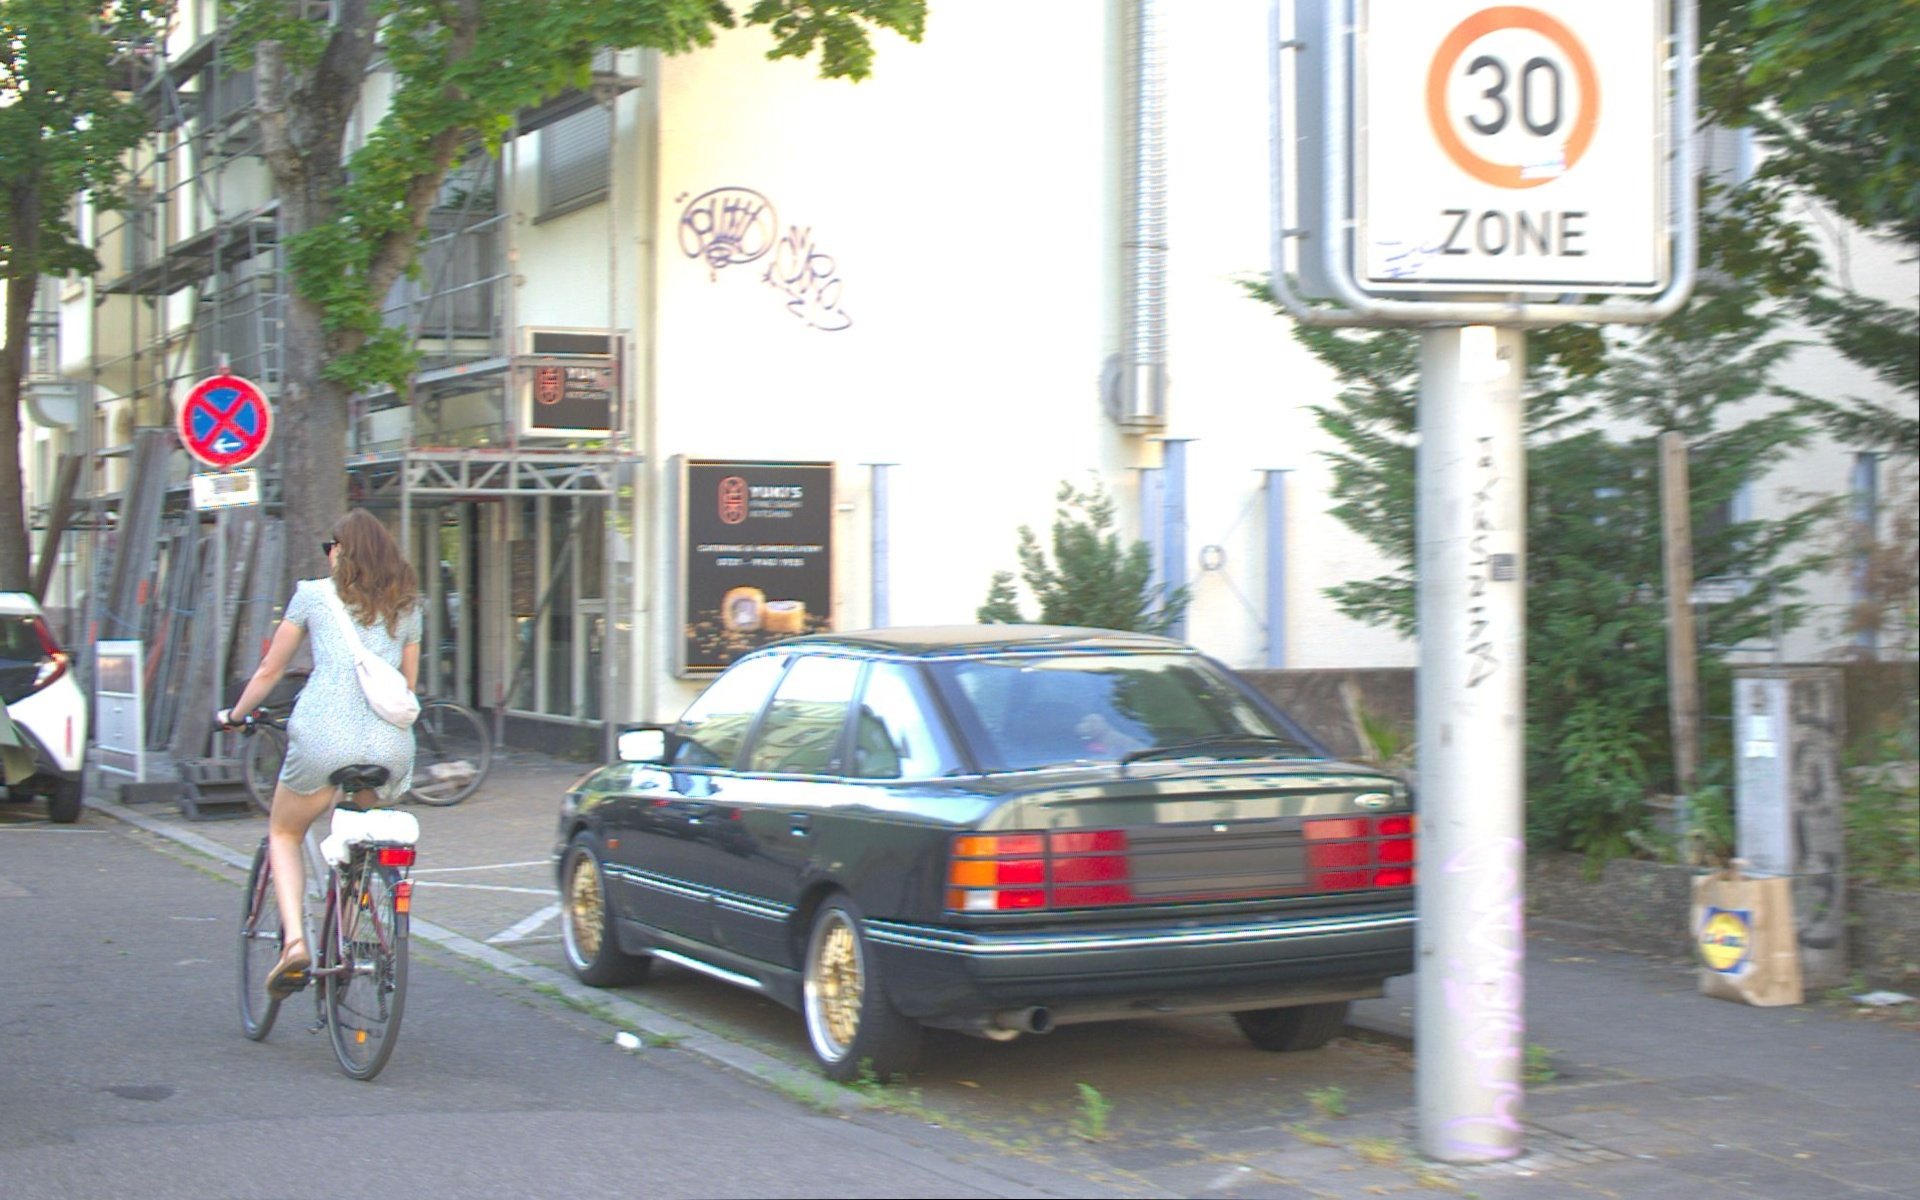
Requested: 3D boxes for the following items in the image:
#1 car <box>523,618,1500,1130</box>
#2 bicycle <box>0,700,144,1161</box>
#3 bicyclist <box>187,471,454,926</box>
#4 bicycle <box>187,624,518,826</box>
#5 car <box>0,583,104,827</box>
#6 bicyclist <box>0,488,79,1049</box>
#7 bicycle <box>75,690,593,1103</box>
[{"bbox_3d":[-0.072,0.793,12.001,1.708,1.383,4.571,1,0,-22],"label":"car"},{"bbox_3d":[-3.120,0.873,9.857,0.839,1.145,2.232,0,1,-32],"label":"bicycle"},{"bbox_3d":[-2.045,0.327,10.936,0.623,1.376,0.868,1,-4,-25],"label":"bicyclist"},{"bbox_3d":[-3.895,0.779,22.151,1.981,1.161,0.726,-2,2,-40],"label":"bicycle"},{"bbox_3d":[-6.984,0.641,23.464,1.674,1.540,3.404,4,-1,-22],"label":"car"},{"bbox_3d":[-3.069,0.483,9.835,0.881,1.556,0.868,1,-3,-28],"label":"bicyclist"},{"bbox_3d":[-2.061,0.905,11.023,0.839,1.145,2.232,5,-3,-30],"label":"bicycle"}]
